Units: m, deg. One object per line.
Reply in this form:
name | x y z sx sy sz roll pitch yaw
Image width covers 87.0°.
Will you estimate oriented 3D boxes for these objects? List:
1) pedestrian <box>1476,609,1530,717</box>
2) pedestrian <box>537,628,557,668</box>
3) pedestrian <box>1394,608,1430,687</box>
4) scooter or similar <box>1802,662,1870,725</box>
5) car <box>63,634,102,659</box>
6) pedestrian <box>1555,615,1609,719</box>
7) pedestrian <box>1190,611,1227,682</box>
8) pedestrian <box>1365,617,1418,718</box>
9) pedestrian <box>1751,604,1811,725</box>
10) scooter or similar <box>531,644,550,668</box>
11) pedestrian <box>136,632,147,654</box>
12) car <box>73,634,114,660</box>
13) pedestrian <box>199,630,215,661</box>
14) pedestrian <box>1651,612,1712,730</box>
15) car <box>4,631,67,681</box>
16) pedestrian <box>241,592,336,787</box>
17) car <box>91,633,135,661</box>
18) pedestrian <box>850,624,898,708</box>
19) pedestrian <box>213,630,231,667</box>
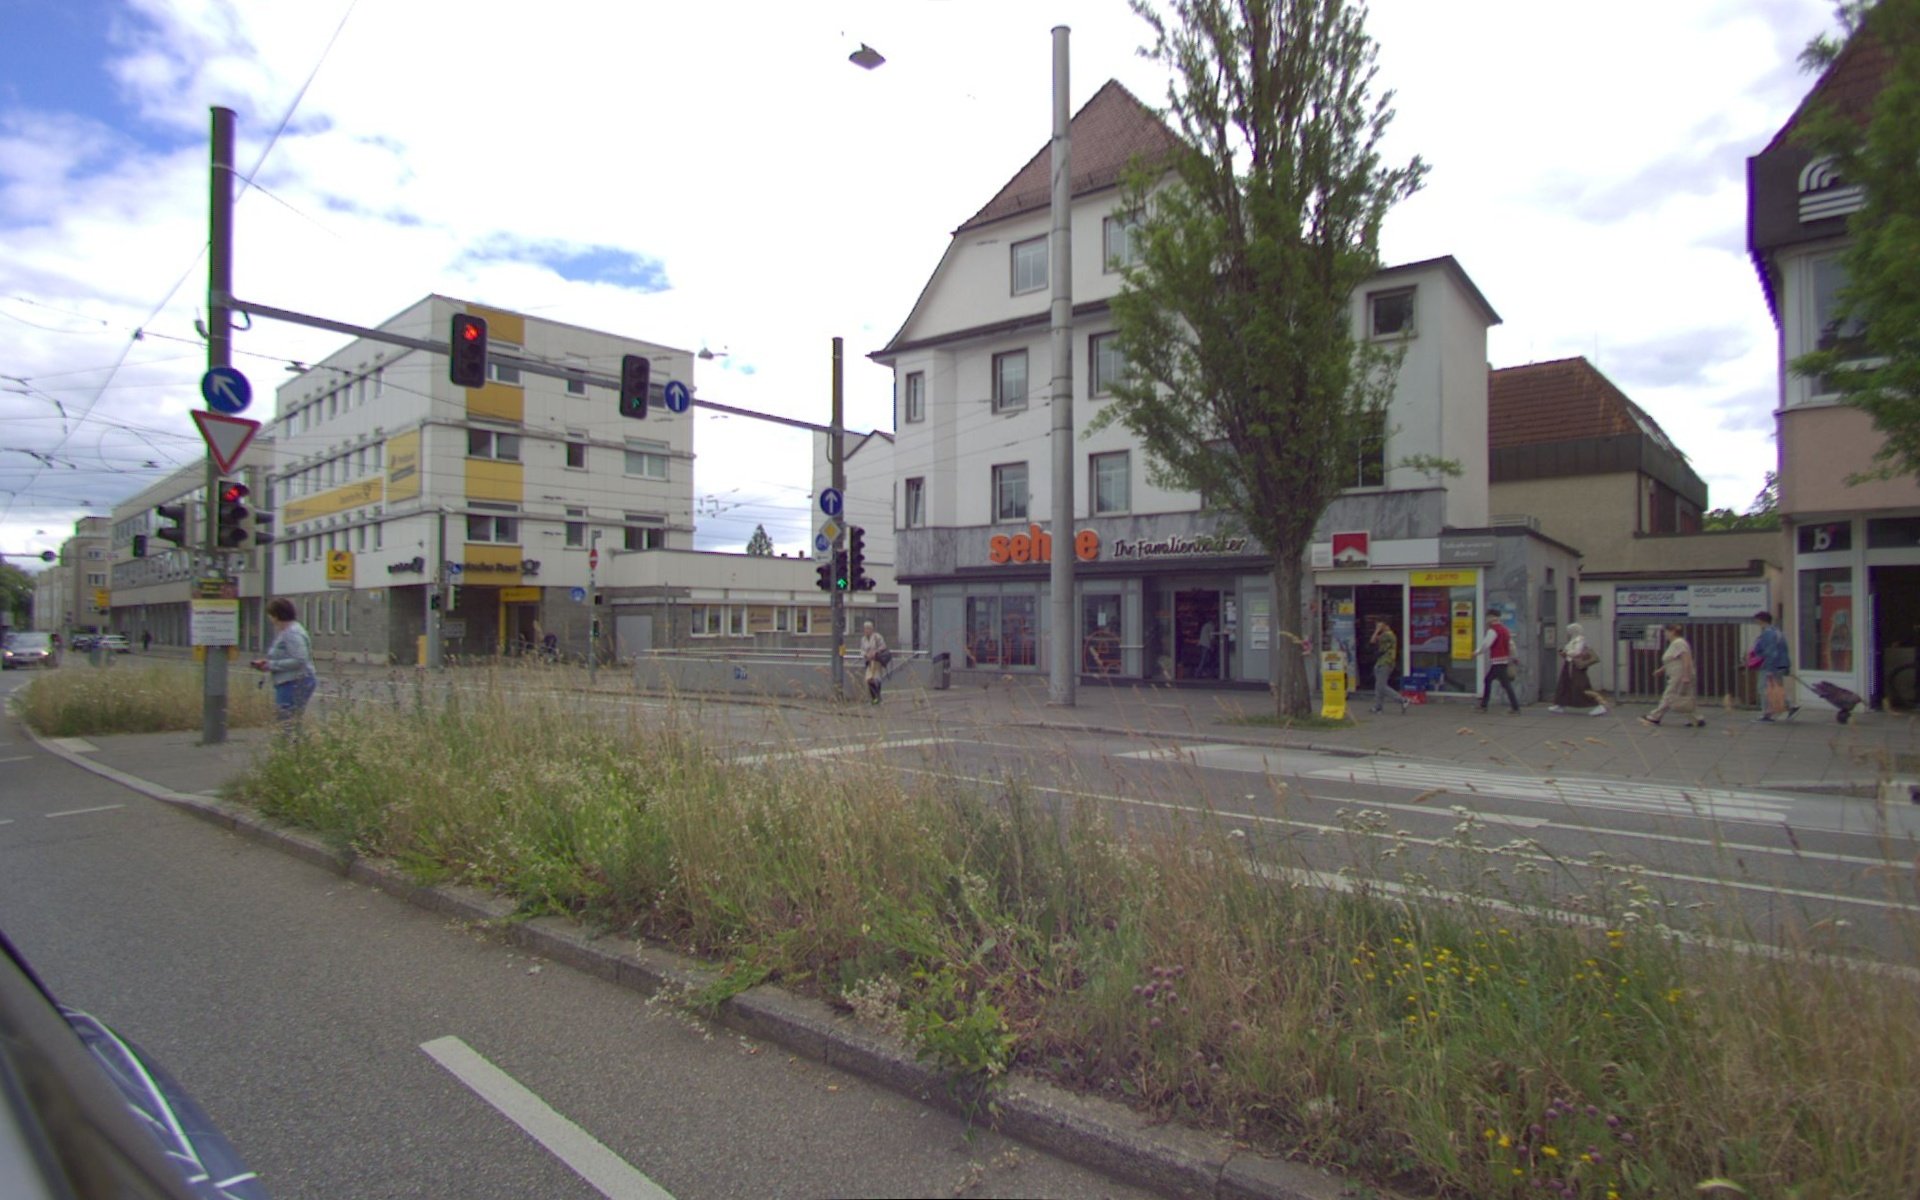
pedestrian | 8.999 1.030 16.777 0.615 1.725 0.580 -3 0 41
pedestrian | -17.340 2.020 42.504 0.615 1.647 0.579 -2 -3 43
pedestrian | 9.730 1.007 21.768 0.585 1.647 0.609 -3 0 30
scooter or similar | 12.654 1.338 14.623 0.702 0.855 0.585 -2 -2 42
car | -75.422 3.974 86.973 4.484 2.029 1.973 -2 -2 41
pedestrian | 10.307 1.093 16.768 0.615 1.647 0.580 -3 0 41
pedestrian | 5.948 1.115 24.210 0.587 1.647 0.607 -3 0 41
pedestrian | 7.328 1.133 17.183 0.615 1.647 0.580 -3 0 41
pedestrian | 12.147 0.942 14.974 0.615 1.725 0.580 -3 0 41
scooter or similar | -17.790 2.372 42.924 0.617 0.984 0.501 -2 -2 41
pedestrian | -68.309 3.562 84.428 0.526 1.816 0.580 -3 0 43
car | -71.117 3.817 83.028 4.484 2.029 1.973 -2 -2 41
pedestrian | -45.263 2.757 60.830 0.526 1.816 0.580 -3 0 43
pedestrian | 10.543 1.025 14.796 0.615 1.647 0.580 -3 0 41
car | -40.434 2.396 44.293 1.970 2.029 4.491 0 -2 -43
pedestrian | -5.959 0.769 8.984 0.662 1.647 0.498 -2 -3 37
car | -66.270 3.656 79.158 4.484 2.029 1.973 -2 -2 41
pedestrian | -1.763 1.342 20.771 0.613 1.647 0.694 -3 0 32
pedestrian | -36.936 2.436 50.651 0.526 1.816 0.580 -3 0 43
